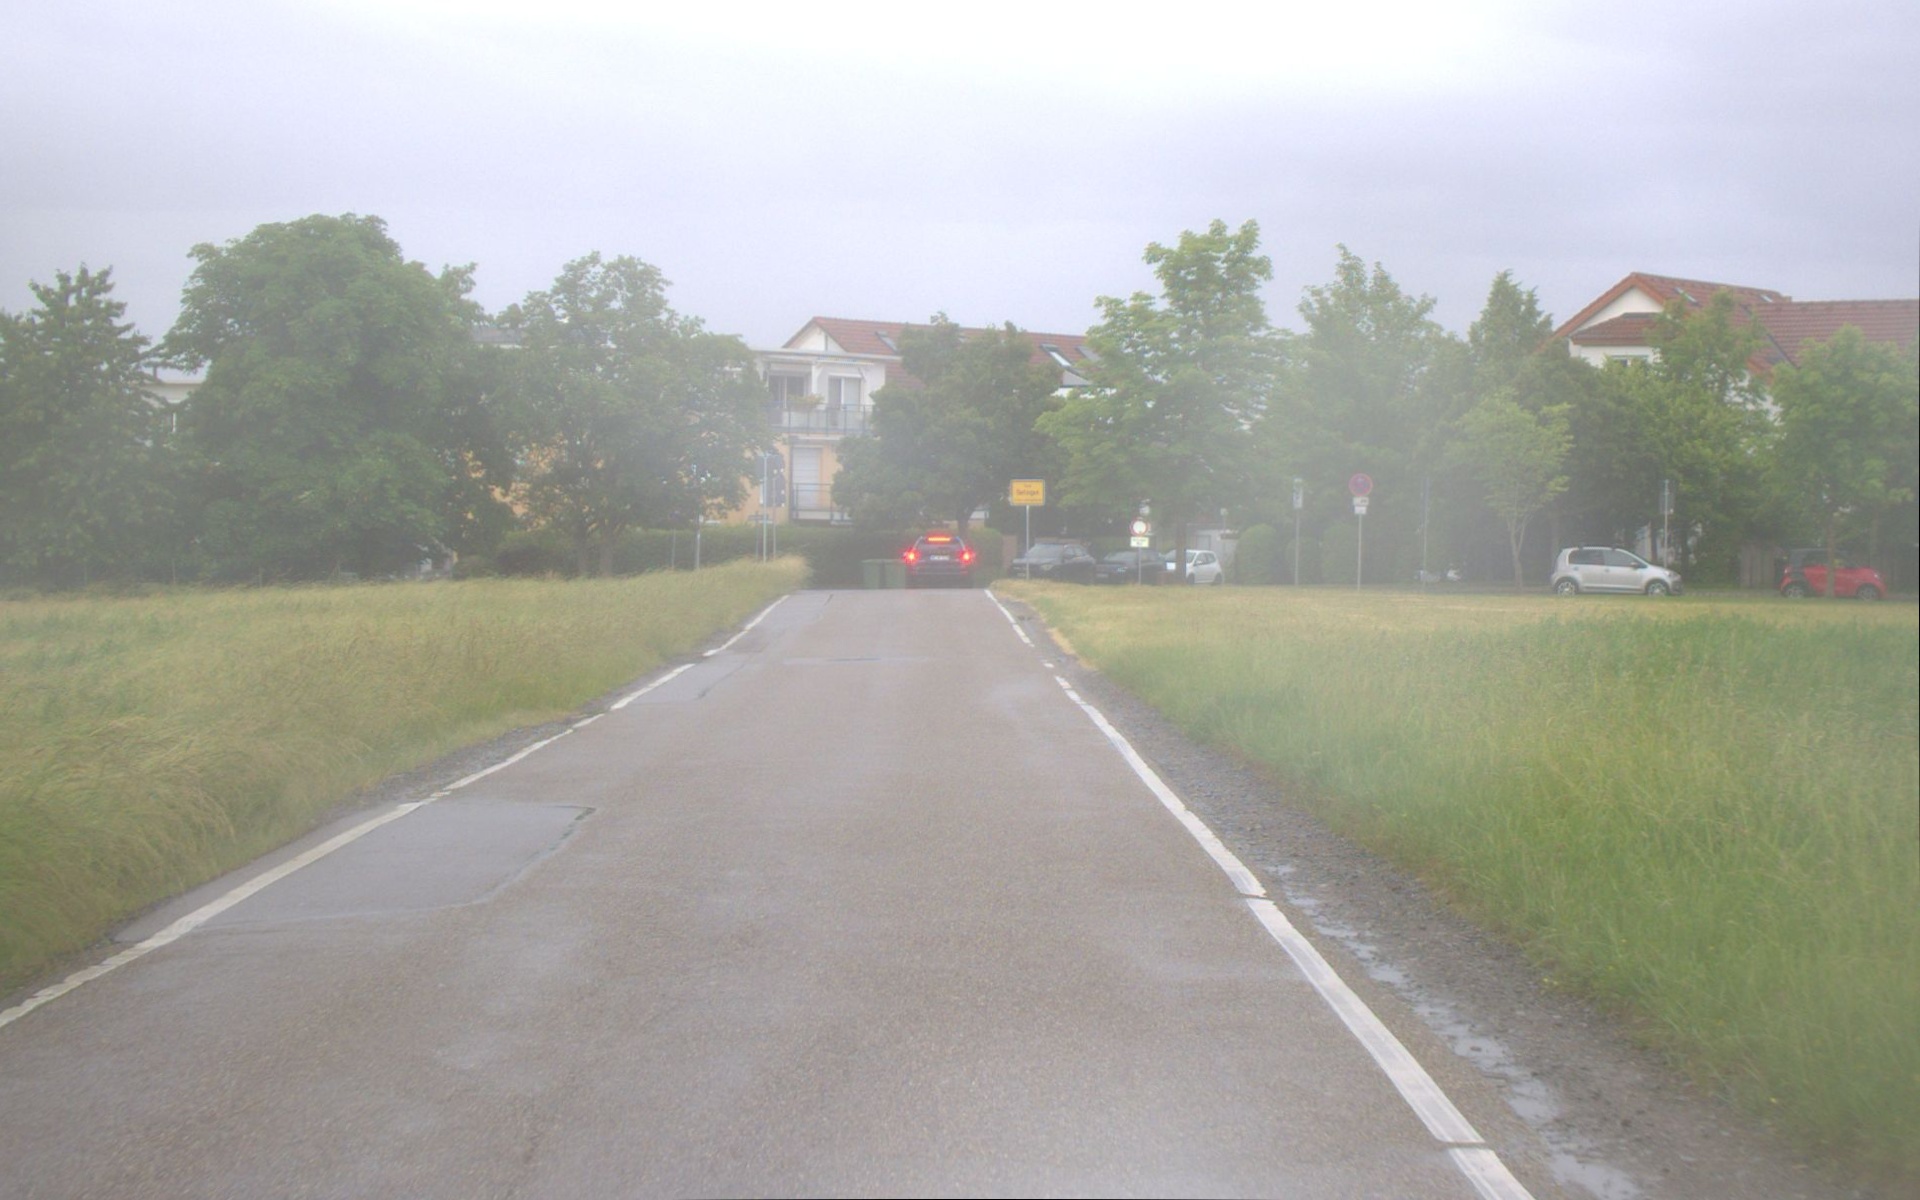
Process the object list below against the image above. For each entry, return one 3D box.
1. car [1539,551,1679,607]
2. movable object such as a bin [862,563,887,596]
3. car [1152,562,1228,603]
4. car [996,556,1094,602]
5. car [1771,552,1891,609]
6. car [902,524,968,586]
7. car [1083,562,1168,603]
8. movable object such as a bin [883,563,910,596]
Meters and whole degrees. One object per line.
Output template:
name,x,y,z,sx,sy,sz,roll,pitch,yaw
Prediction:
car,17.588,-0.563,93.157,3.546,1.474,1.678,0,0,18
movable object such as a bin,-2.759,-0.674,110.982,0.666,1.070,0.543,0,1,21
car,8.823,-0.656,131.738,1.513,1.471,3.268,3,1,31
car,3.038,-0.745,122.160,1.778,1.513,4.131,3,1,28
car,23.213,-0.514,91.599,3.004,1.431,1.552,1,0,17
car,-0.674,-1.167,90.682,1.686,1.547,3.697,0,0,-1
car,6.140,-0.646,127.081,1.638,1.404,3.598,3,1,30
movable object such as a bin,-2.032,-0.653,110.714,0.695,1.071,0.601,0,1,20
